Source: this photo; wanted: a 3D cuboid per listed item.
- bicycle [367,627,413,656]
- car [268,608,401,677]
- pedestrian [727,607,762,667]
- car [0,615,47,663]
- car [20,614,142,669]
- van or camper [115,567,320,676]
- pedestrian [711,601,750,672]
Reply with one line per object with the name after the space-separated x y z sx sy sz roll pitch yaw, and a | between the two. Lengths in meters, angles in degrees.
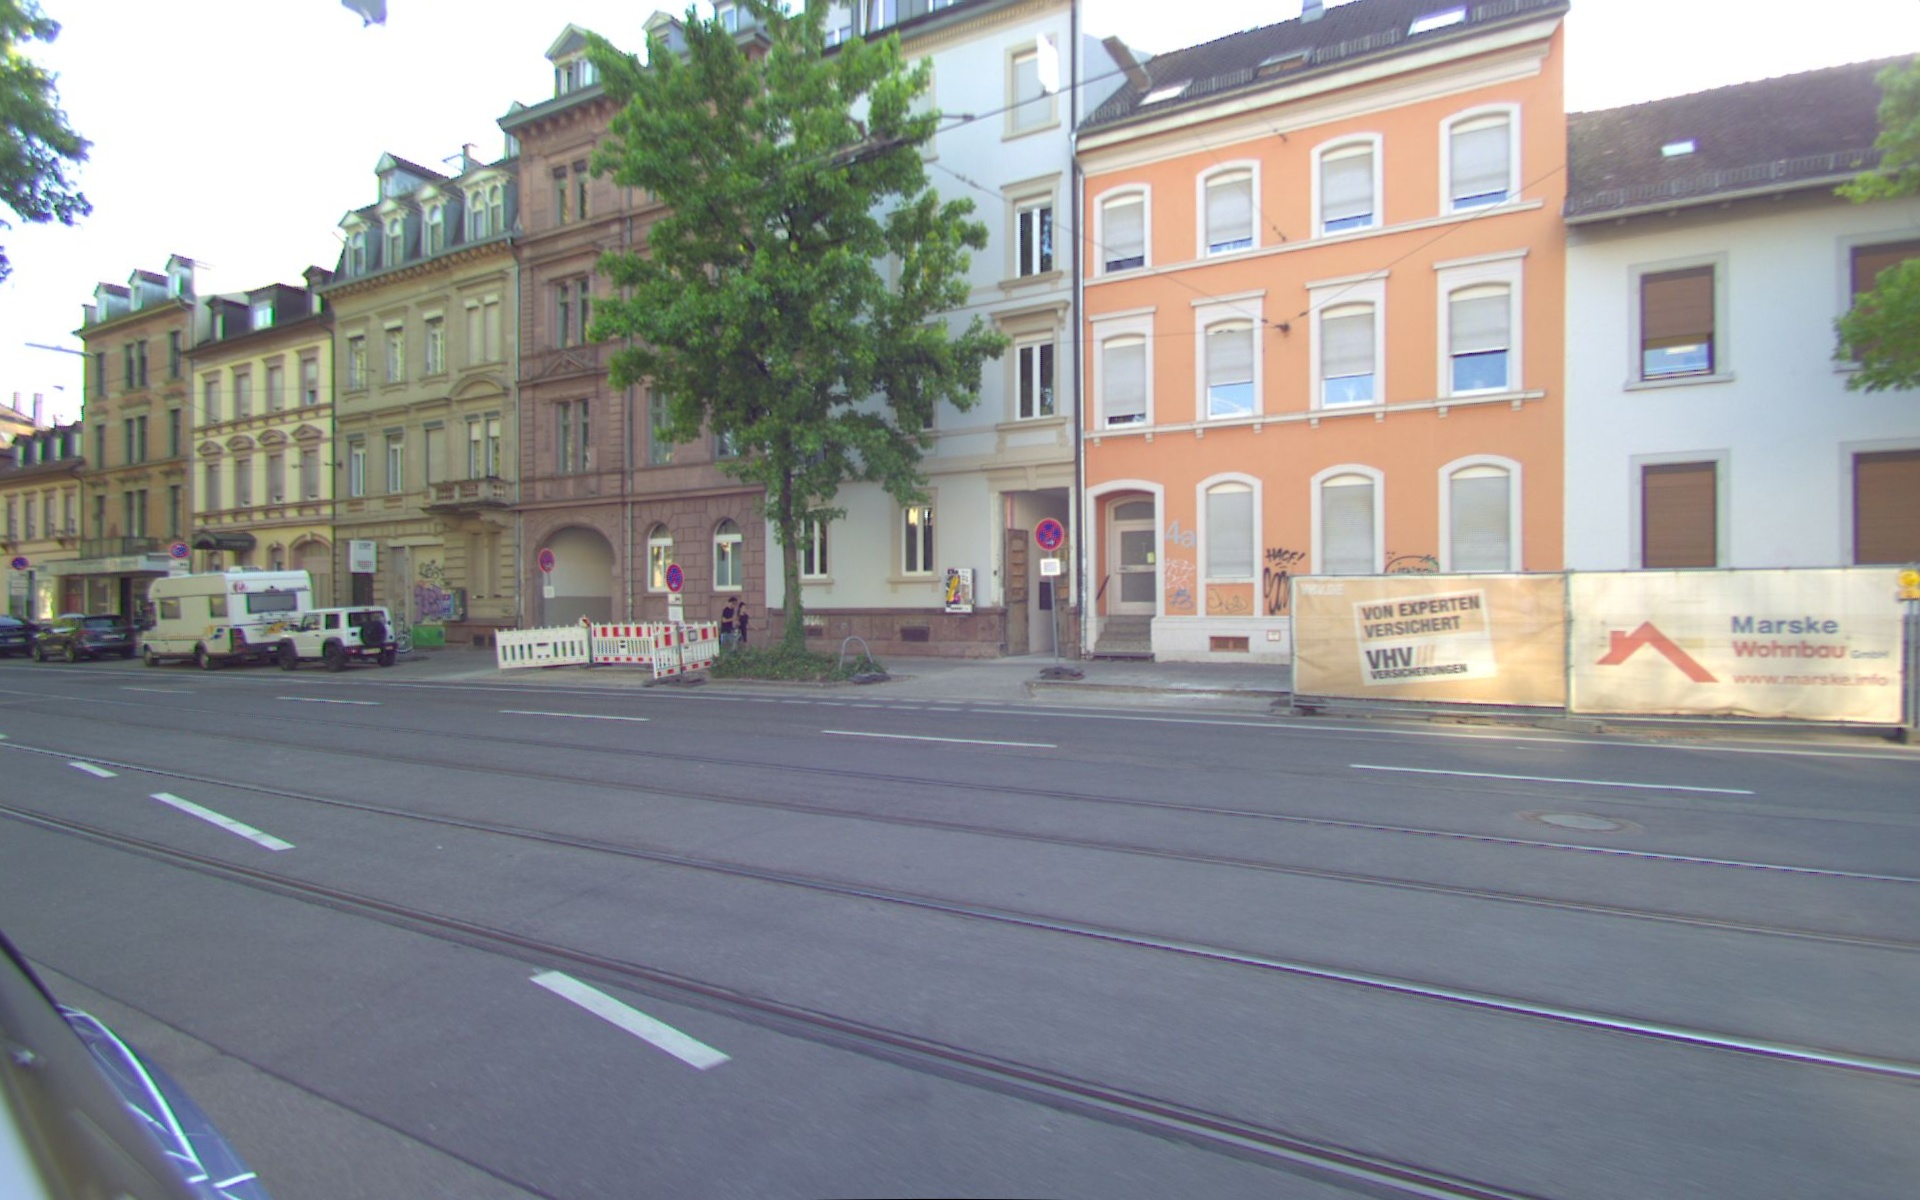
-18.861 1.362 33.473 1.786 0.931 0.574 -1 -1 32 | bicycle
-17.374 1.150 28.115 3.354 1.718 1.621 -1 2 27 | car
-5.351 0.912 25.161 0.605 1.472 0.572 -1 1 29 | pedestrian
-37.823 1.519 39.329 4.730 1.715 1.981 -1 2 29 | car
-31.096 1.427 35.784 4.424 1.718 1.799 -1 2 29 | car
-22.874 0.613 31.071 7.225 2.969 2.402 -1 2 31 | van or camper
-5.492 0.863 24.255 0.683 1.666 0.565 -1 1 24 | pedestrian
